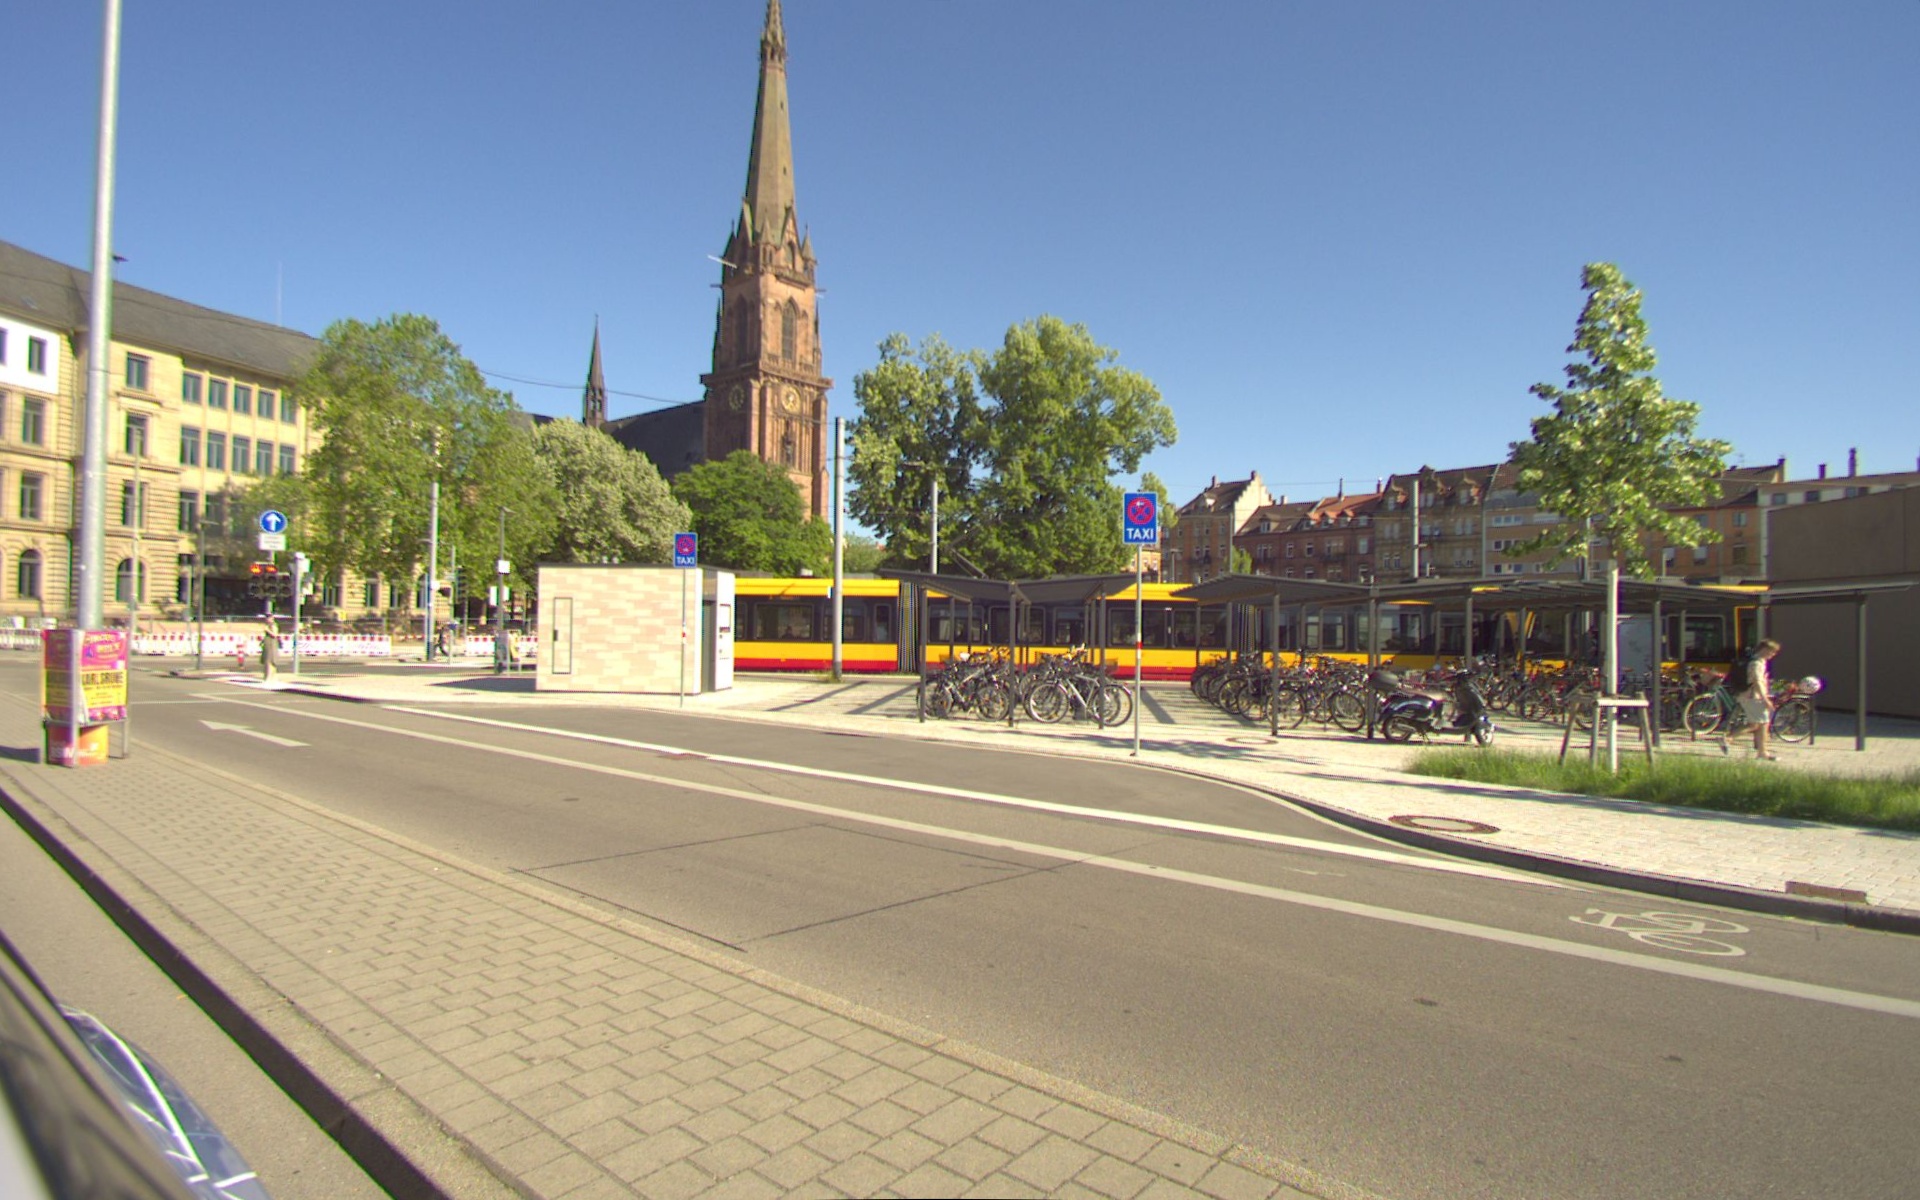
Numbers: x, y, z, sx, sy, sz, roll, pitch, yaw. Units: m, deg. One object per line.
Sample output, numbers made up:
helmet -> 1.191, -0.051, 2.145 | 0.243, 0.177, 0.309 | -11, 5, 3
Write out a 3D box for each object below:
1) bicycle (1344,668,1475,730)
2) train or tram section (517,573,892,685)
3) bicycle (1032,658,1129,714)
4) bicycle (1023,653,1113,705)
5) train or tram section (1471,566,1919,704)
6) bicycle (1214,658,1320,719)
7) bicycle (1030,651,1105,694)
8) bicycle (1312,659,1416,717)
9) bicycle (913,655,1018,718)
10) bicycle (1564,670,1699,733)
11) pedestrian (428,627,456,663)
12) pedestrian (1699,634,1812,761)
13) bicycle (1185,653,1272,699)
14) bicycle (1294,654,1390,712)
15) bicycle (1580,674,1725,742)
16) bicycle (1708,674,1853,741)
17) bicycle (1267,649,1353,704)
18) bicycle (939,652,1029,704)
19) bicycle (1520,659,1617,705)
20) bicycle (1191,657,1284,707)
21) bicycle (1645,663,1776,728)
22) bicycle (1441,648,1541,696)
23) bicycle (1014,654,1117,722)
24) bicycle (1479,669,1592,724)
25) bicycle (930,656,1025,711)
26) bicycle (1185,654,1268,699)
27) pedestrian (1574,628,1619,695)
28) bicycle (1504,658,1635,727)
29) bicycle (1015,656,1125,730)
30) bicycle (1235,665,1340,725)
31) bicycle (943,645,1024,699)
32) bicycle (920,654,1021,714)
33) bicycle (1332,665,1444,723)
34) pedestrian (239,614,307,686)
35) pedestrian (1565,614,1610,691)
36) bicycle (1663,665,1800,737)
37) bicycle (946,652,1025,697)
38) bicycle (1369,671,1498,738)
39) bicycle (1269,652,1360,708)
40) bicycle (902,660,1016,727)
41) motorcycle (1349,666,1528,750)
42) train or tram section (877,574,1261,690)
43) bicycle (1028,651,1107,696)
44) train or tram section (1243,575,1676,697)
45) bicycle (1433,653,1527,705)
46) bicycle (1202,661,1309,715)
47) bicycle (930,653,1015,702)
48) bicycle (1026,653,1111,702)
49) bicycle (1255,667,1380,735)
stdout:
bicycle -> 7.911, 1.734, 17.872 | 2.003, 1.015, 0.627 | 0, -2, 7
train or tram section -> -8.706, 0.965, 35.067 | 12.382, 3.628, 2.796 | 0, -2, 6
bicycle -> 2.313, 1.638, 19.536 | 1.808, 1.015, 0.745 | 0, -2, 7
bicycle -> 2.221, 1.613, 20.844 | 1.808, 1.015, 0.627 | 0, -2, 7
train or tram section -> 21.465, 0.946, 28.691 | 12.179, 3.628, 2.748 | 0, -2, 7
bicycle -> 5.868, 1.686, 19.406 | 1.859, 1.101, 0.626 | 0, -2, 8
bicycle -> 2.624, 1.762, 24.805 | 1.808, 1.015, 0.627 | 0, -2, 7
bicycle -> 8.066, 1.750, 20.258 | 1.808, 1.088, 0.627 | 0, -2, 7
bicycle -> 0.108, 1.541, 18.232 | 1.809, 1.074, 0.627 | 0, -2, 9
bicycle -> 11.595, 1.746, 17.521 | 1.872, 1.004, 0.499 | 0, -2, 13
pedestrian -> -25.361, 2.185, 49.536 | 0.923, 1.754, 0.805 | 0, -2, 5
pedestrian -> 11.283, 1.347, 14.391 | 1.017, 1.718, 0.833 | 0, -2, 19
bicycle -> 6.113, 1.725, 23.106 | 1.807, 1.015, 0.628 | 0, -2, 5
bicycle -> 8.103, 1.750, 21.524 | 1.808, 1.170, 0.627 | 0, -2, 7
bicycle -> 11.151, 1.726, 16.345 | 1.809, 1.015, 0.627 | 0, -2, 9
bicycle -> 13.012, 1.699, 16.072 | 1.803, 1.015, 0.629 | 1, -2, -3
bicycle -> 8.228, 1.788, 23.872 | 1.808, 1.242, 0.627 | 0, -2, 7
bicycle -> 0.505, 1.619, 21.135 | 1.809, 1.015, 0.627 | 0, -2, 9
bicycle -> 14.045, 1.885, 23.402 | 1.808, 1.015, 0.627 | 0, -2, 7
bicycle -> 5.961, 1.760, 21.801 | 1.805, 1.015, 0.629 | 0, -2, 0
bicycle -> 13.582, 1.720, 18.355 | 1.808, 1.101, 0.627 | 0, -2, 7
bicycle -> 11.679, 1.581, 22.303 | 1.809, 1.015, 0.627 | 0, -2, 9
bicycle -> 1.901, 1.581, 18.271 | 1.808, 1.157, 0.627 | 0, -2, 7
bicycle -> 11.254, 1.877, 19.836 | 1.809, 1.015, 0.627 | 0, -2, 9
bicycle -> 0.353, 1.639, 19.980 | 1.809, 1.015, 0.627 | 0, -2, 9
bicycle -> 6.243, 1.789, 23.794 | 1.808, 1.015, 0.627 | 0, -2, 6
pedestrian -> 16.303, 1.570, 25.946 | 0.762, 1.672, 0.604 | 0, -2, 4
bicycle -> 11.289, 1.707, 18.797 | 2.029, 1.218, 0.505 | 0, -2, 8
bicycle -> 1.857, 1.559, 17.129 | 1.808, 1.167, 0.627 | 1, -2, 7
bicycle -> 5.845, 1.689, 18.128 | 1.731, 1.015, 0.547 | 0, -2, 10
bicycle -> 0.554, 1.650, 23.410 | 1.809, 1.188, 0.627 | 0, -2, 9
bicycle -> 0.205, 1.547, 18.761 | 1.809, 1.059, 0.571 | 0, -2, 9
bicycle -> 7.992, 1.752, 18.966 | 1.808, 1.015, 0.627 | 0, -2, 7
pedestrian -> -18.277, 1.319, 26.961 | 0.822, 1.869, 1.220 | 0, -2, 22
pedestrian -> 15.639, 1.293, 25.230 | 0.700, 1.869, 0.751 | 2, -2, -38
bicycle -> 12.983, 1.692, 17.060 | 1.805, 1.155, 0.629 | 0, -2, 0
bicycle -> 0.612, 1.754, 24.110 | 1.809, 1.015, 0.627 | 0, -2, 9
bicycle -> 7.760, 1.707, 16.646 | 1.808, 1.015, 0.627 | 0, -2, 7
bicycle -> 7.920, 1.771, 22.674 | 1.808, 1.198, 0.647 | 0, -2, 7
bicycle -> -0.002, 1.586, 17.369 | 1.847, 1.015, 0.699 | 2, -2, 9
motorcycle -> 7.160, 1.607, 15.229 | 2.333, 1.167, 0.610 | 0, -2, 7
train or tram section -> 3.500, 1.022, 33.787 | 12.174, 3.628, 2.796 | 0, -2, 6
bicycle -> 2.502, 1.706, 23.605 | 1.808, 1.015, 0.627 | 0, -2, 7
train or tram section -> 15.606, 1.102, 32.509 | 12.174, 3.628, 2.828 | 0, -2, 6
bicycle -> 11.993, 1.818, 23.399 | 1.809, 1.140, 0.627 | 0, -2, 9
bicycle -> 5.941, 1.764, 20.427 | 1.978, 1.015, 0.628 | 0, -2, 4
bicycle -> 0.281, 1.694, 22.167 | 1.809, 1.015, 0.627 | 0, -2, 9
bicycle -> 2.370, 1.691, 22.119 | 1.808, 1.015, 0.627 | 0, -2, 7
bicycle -> 5.969, 1.680, 16.974 | 1.871, 1.050, 0.688 | 0, -2, 9
